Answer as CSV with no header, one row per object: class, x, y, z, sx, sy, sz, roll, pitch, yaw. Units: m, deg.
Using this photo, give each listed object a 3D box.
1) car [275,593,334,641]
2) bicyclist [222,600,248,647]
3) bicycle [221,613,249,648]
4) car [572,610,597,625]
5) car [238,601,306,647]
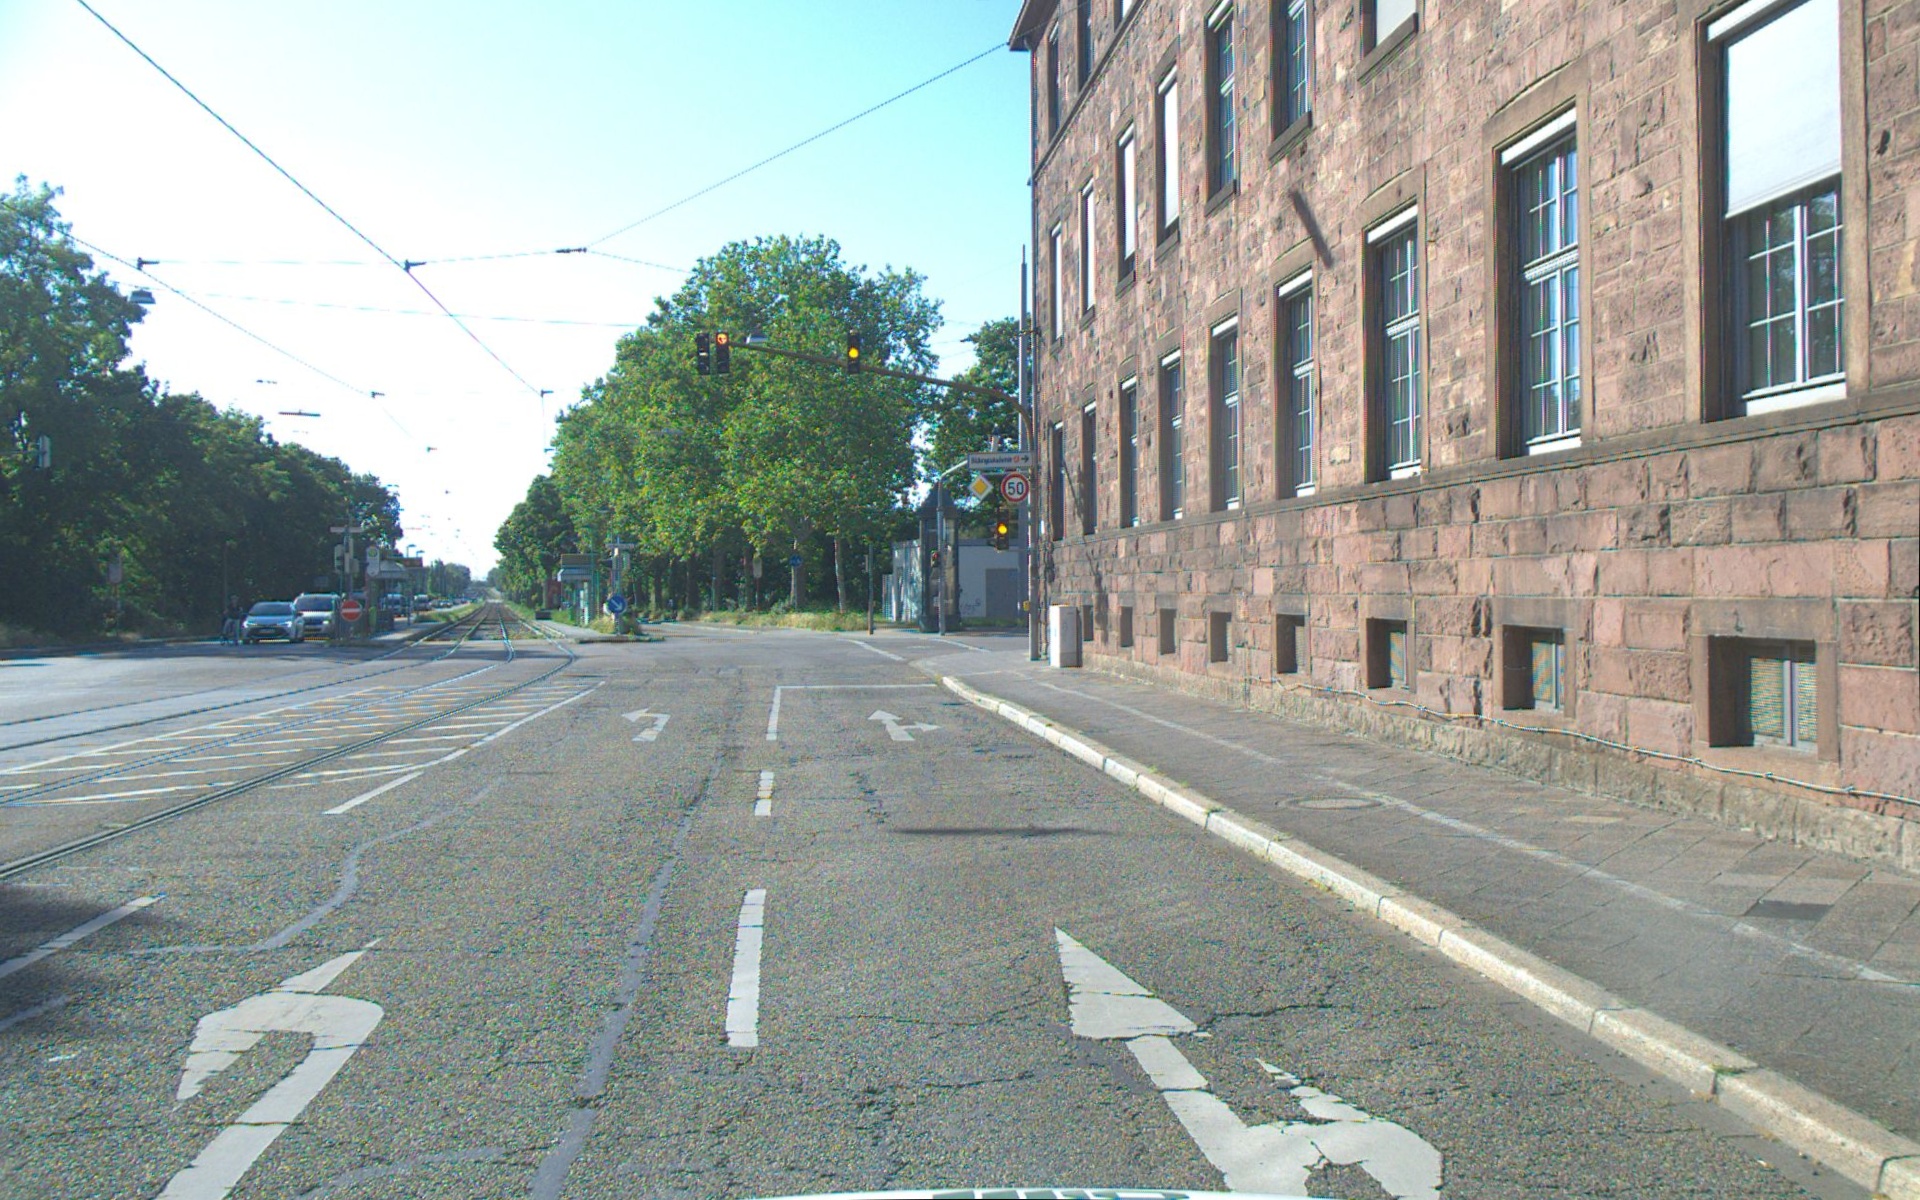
car,-25.551,0.637,64.575,1.964,1.791,3.978,0,0,-19
bicyclist,-23.970,0.776,54.695,0.738,1.530,0.958,0,0,-21
bicycle,-23.955,0.996,54.666,0.738,1.106,2.163,0,0,-21
car,-42.434,1.982,186.773,1.919,1.638,3.966,0,0,-26
car,-24.183,0.817,58.278,1.964,1.531,3.978,0,0,-19
